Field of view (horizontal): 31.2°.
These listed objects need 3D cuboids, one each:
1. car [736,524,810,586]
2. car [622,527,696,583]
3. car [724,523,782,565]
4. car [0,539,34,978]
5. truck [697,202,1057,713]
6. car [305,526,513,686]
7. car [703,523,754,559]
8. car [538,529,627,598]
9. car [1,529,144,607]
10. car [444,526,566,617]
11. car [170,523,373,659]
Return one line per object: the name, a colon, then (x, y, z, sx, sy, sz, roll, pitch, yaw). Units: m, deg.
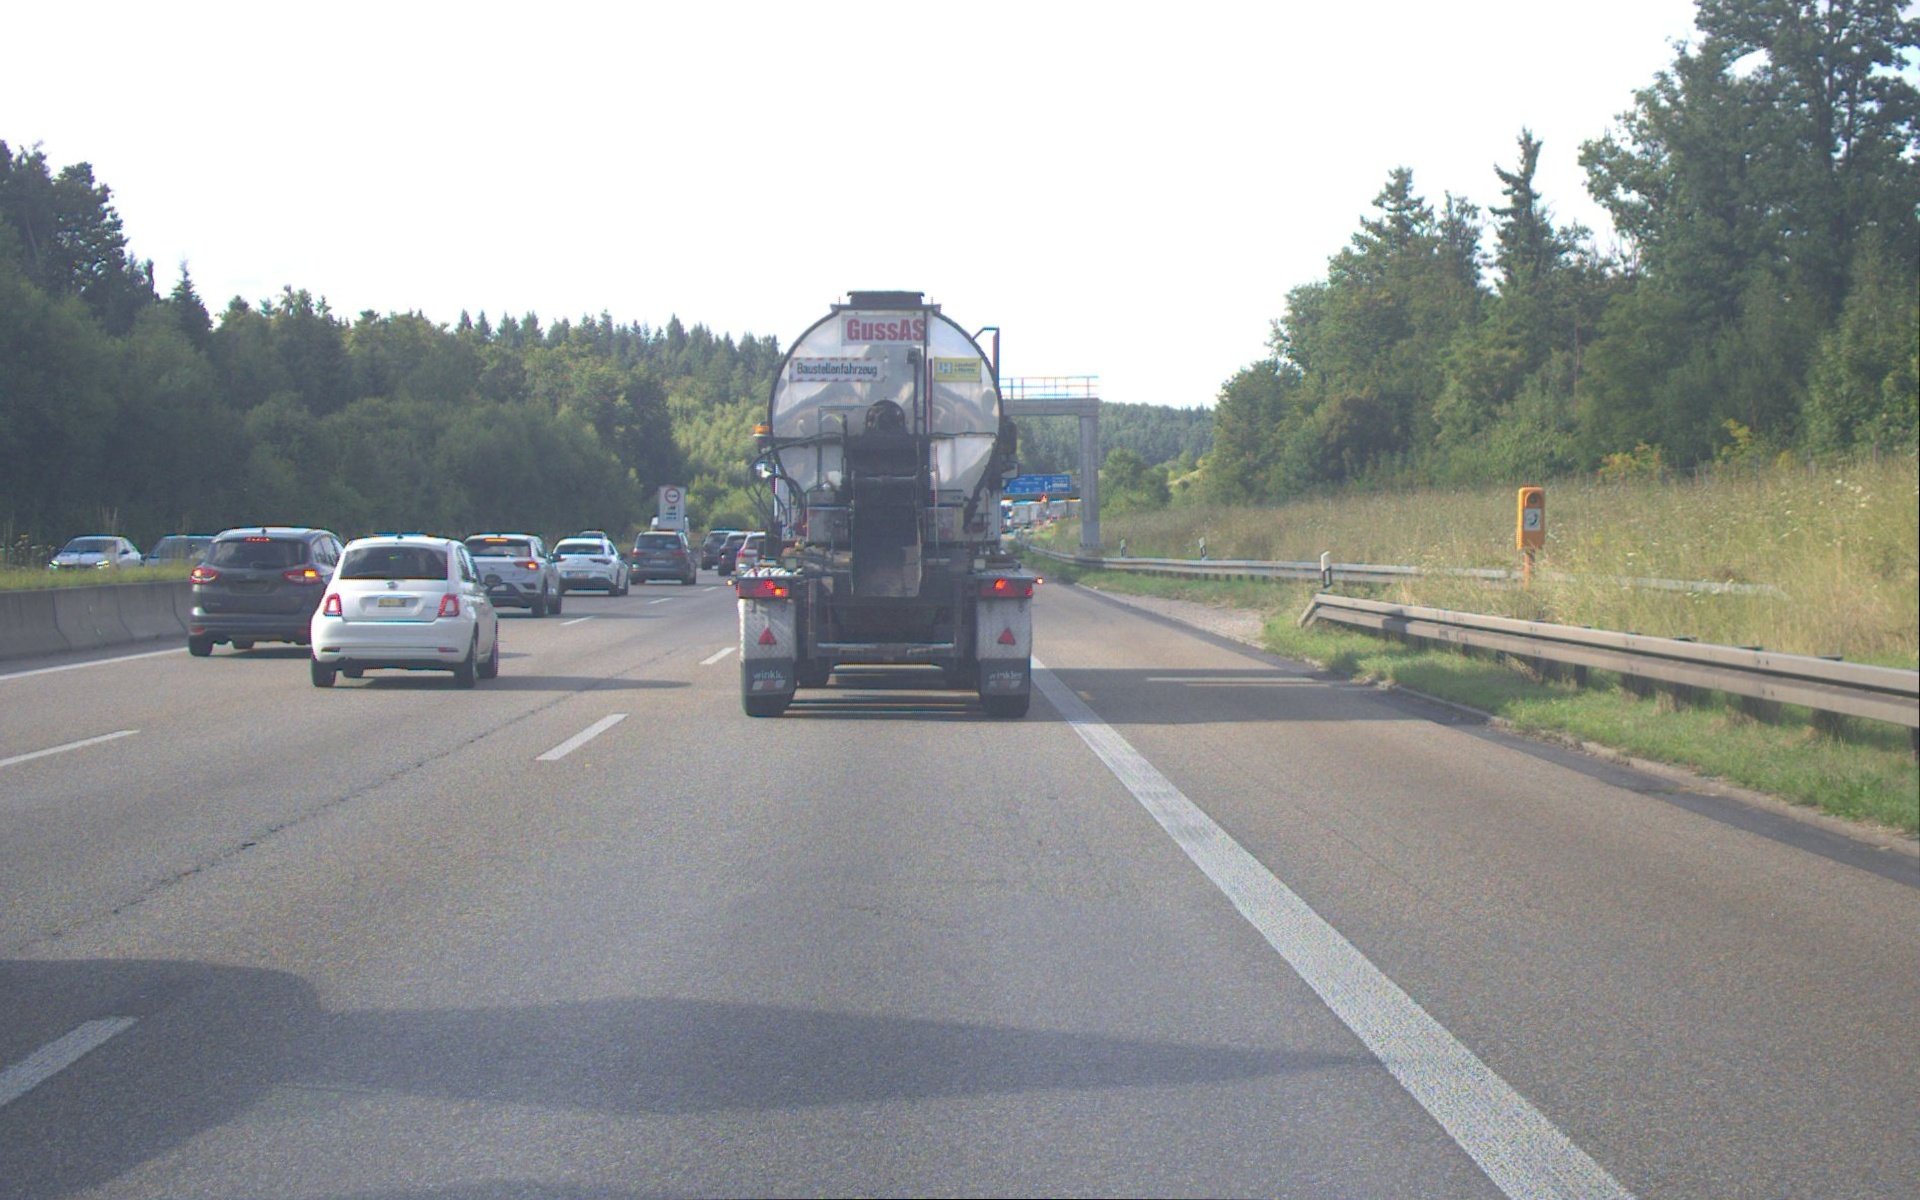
car: (-5.287, -1.293, 97.640, 1.942, 1.649, 4.207, 1, 2, -1)
car: (-9.140, -1.388, 104.537, 1.942, 1.580, 4.207, 1, 2, -1)
car: (-7.691, -2.095, 127.878, 1.942, 1.451, 4.207, 1, 2, -1)
car: (-4.283, 0.588, 9.284, 2.060, 1.494, 5.736, 0, 1, 0)
truck: (-0.712, -1.282, 33.609, 2.912, 4.143, 11.270, 0, 1, 0)
car: (-5.596, 0.028, 35.243, 1.618, 1.539, 3.520, 1, 1, -1)
car: (-9.746, -2.495, 144.964, 1.942, 1.451, 4.207, 1, 2, -1)
car: (-9.342, -0.928, 85.347, 1.806, 1.580, 4.207, 1, 2, -1)
car: (-25.116, -0.941, 97.575, 2.579, 2.131, 5.966, 0, 1, -1)
car: (-8.503, -0.569, 64.545, 1.806, 1.580, 4.207, 1, 2, -1)
car: (-8.722, -0.156, 43.846, 1.806, 1.580, 4.207, 1, 2, -1)
